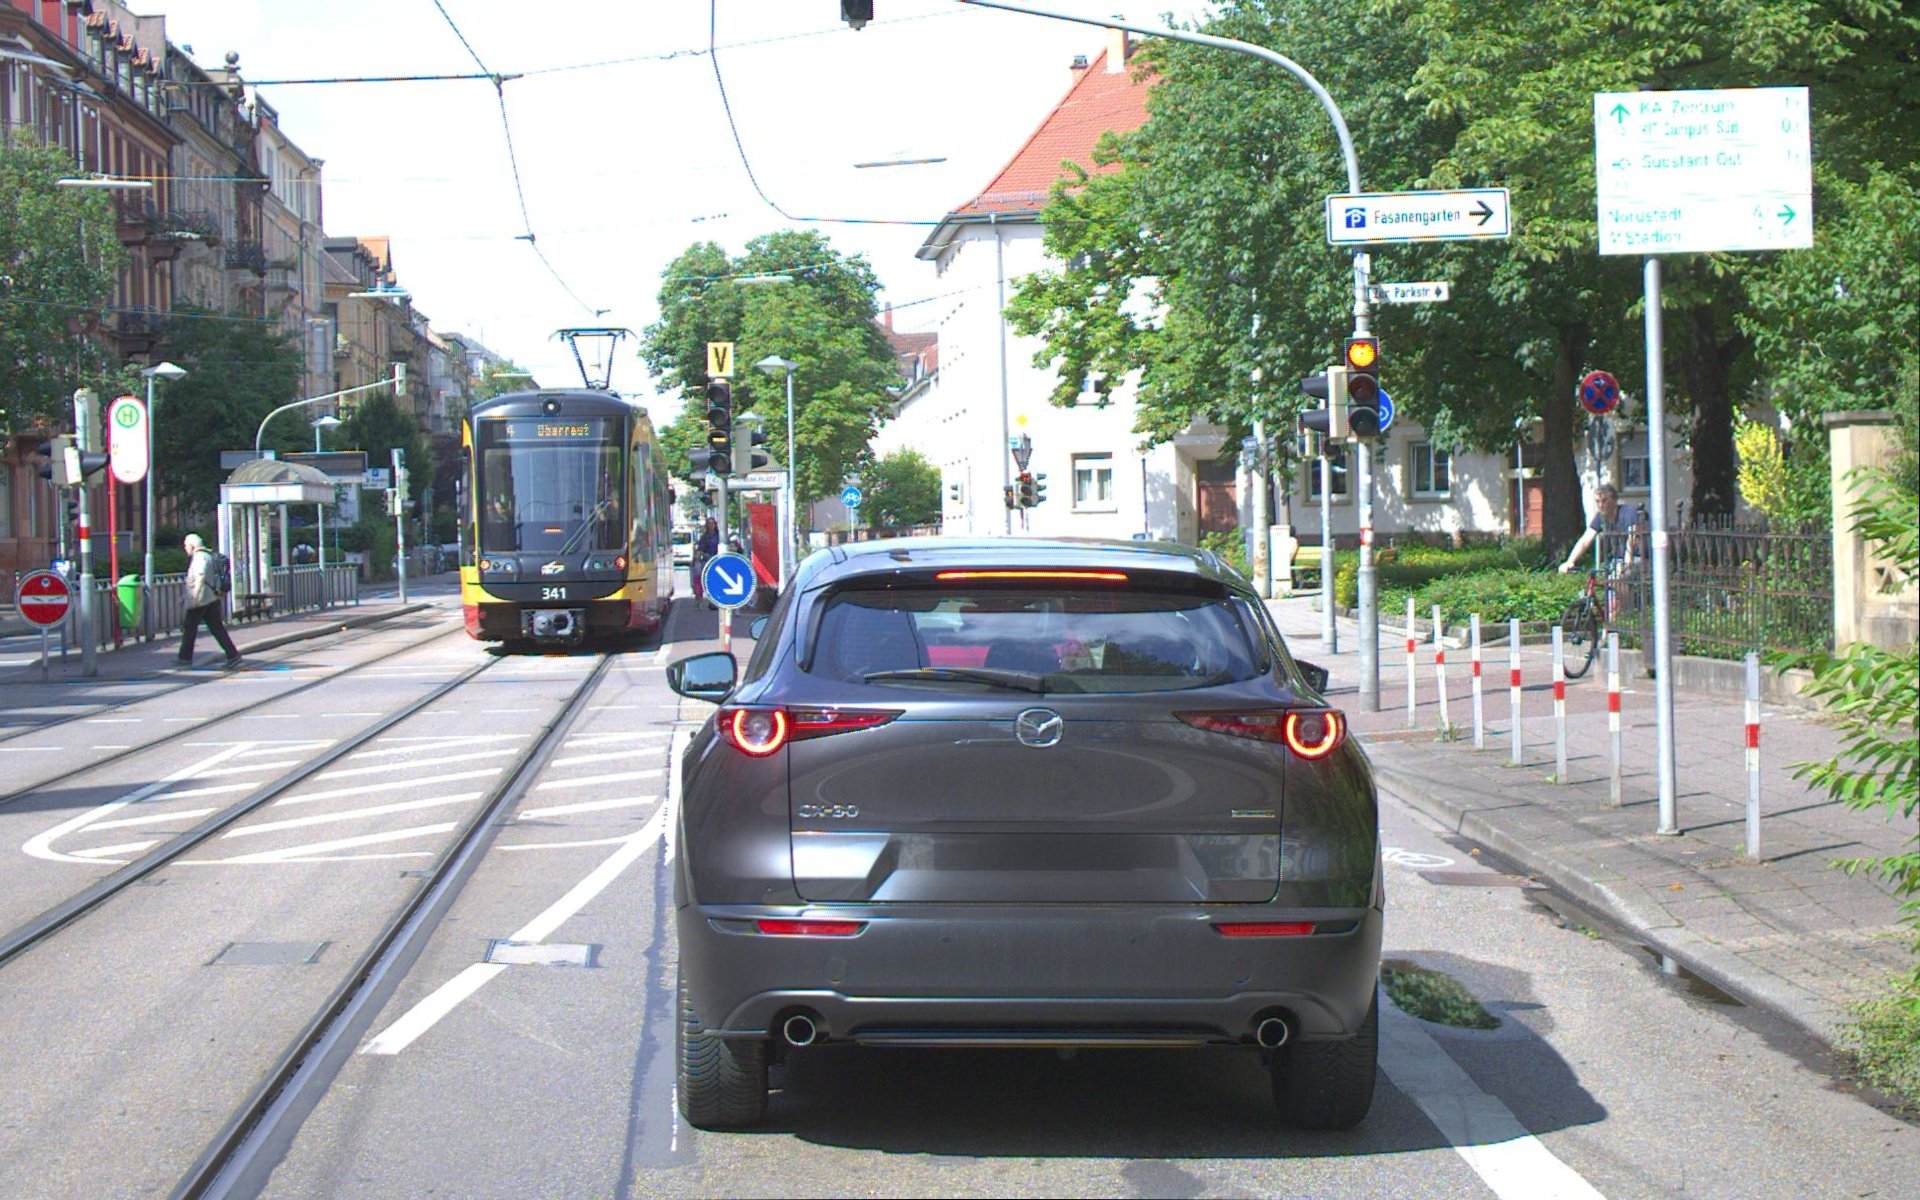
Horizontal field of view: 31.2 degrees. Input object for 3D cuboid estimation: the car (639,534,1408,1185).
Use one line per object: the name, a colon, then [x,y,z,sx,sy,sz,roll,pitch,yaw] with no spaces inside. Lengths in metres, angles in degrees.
car: [0.113,0.571,10.045,1.778,1.494,4.000,1,1,-1]

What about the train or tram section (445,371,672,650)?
train or tram section: [-5.697,-1.400,50.850,2.752,3.478,14.411,-1,2,-5]

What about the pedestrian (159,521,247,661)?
pedestrian: [-9.347,-0.115,42.476,0.717,1.699,0.823,-1,1,16]

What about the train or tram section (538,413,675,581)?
train or tram section: [-8.039,-2.439,79.584,2.752,3.478,14.411,-1,2,-5]

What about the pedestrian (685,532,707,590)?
pedestrian: [-4.857,-0.723,63.268,0.379,1.067,0.474,-1,1,-4]

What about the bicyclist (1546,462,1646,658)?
bicyclist: [5.887,-0.374,31.835,0.608,1.786,0.658,-2,1,-29]

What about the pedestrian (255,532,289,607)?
pedestrian: [-12.928,-0.568,64.607,0.429,1.394,0.398,-1,1,30]

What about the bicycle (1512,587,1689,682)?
bicycle: [5.941,0.311,31.868,1.693,0.821,0.494,-2,1,-31]

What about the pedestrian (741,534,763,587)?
pedestrian: [-3.877,-0.737,64.166,0.379,0.981,0.474,-1,1,-5]

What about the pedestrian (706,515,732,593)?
pedestrian: [-4.473,-0.862,63.768,0.450,1.429,0.474,-1,1,-5]

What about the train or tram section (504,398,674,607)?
train or tram section: [-6.859,-1.906,65.218,2.752,3.478,14.411,-1,2,-5]

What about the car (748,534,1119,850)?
car: [-0.165,0.409,18.650,1.778,1.494,4.000,1,1,-1]
